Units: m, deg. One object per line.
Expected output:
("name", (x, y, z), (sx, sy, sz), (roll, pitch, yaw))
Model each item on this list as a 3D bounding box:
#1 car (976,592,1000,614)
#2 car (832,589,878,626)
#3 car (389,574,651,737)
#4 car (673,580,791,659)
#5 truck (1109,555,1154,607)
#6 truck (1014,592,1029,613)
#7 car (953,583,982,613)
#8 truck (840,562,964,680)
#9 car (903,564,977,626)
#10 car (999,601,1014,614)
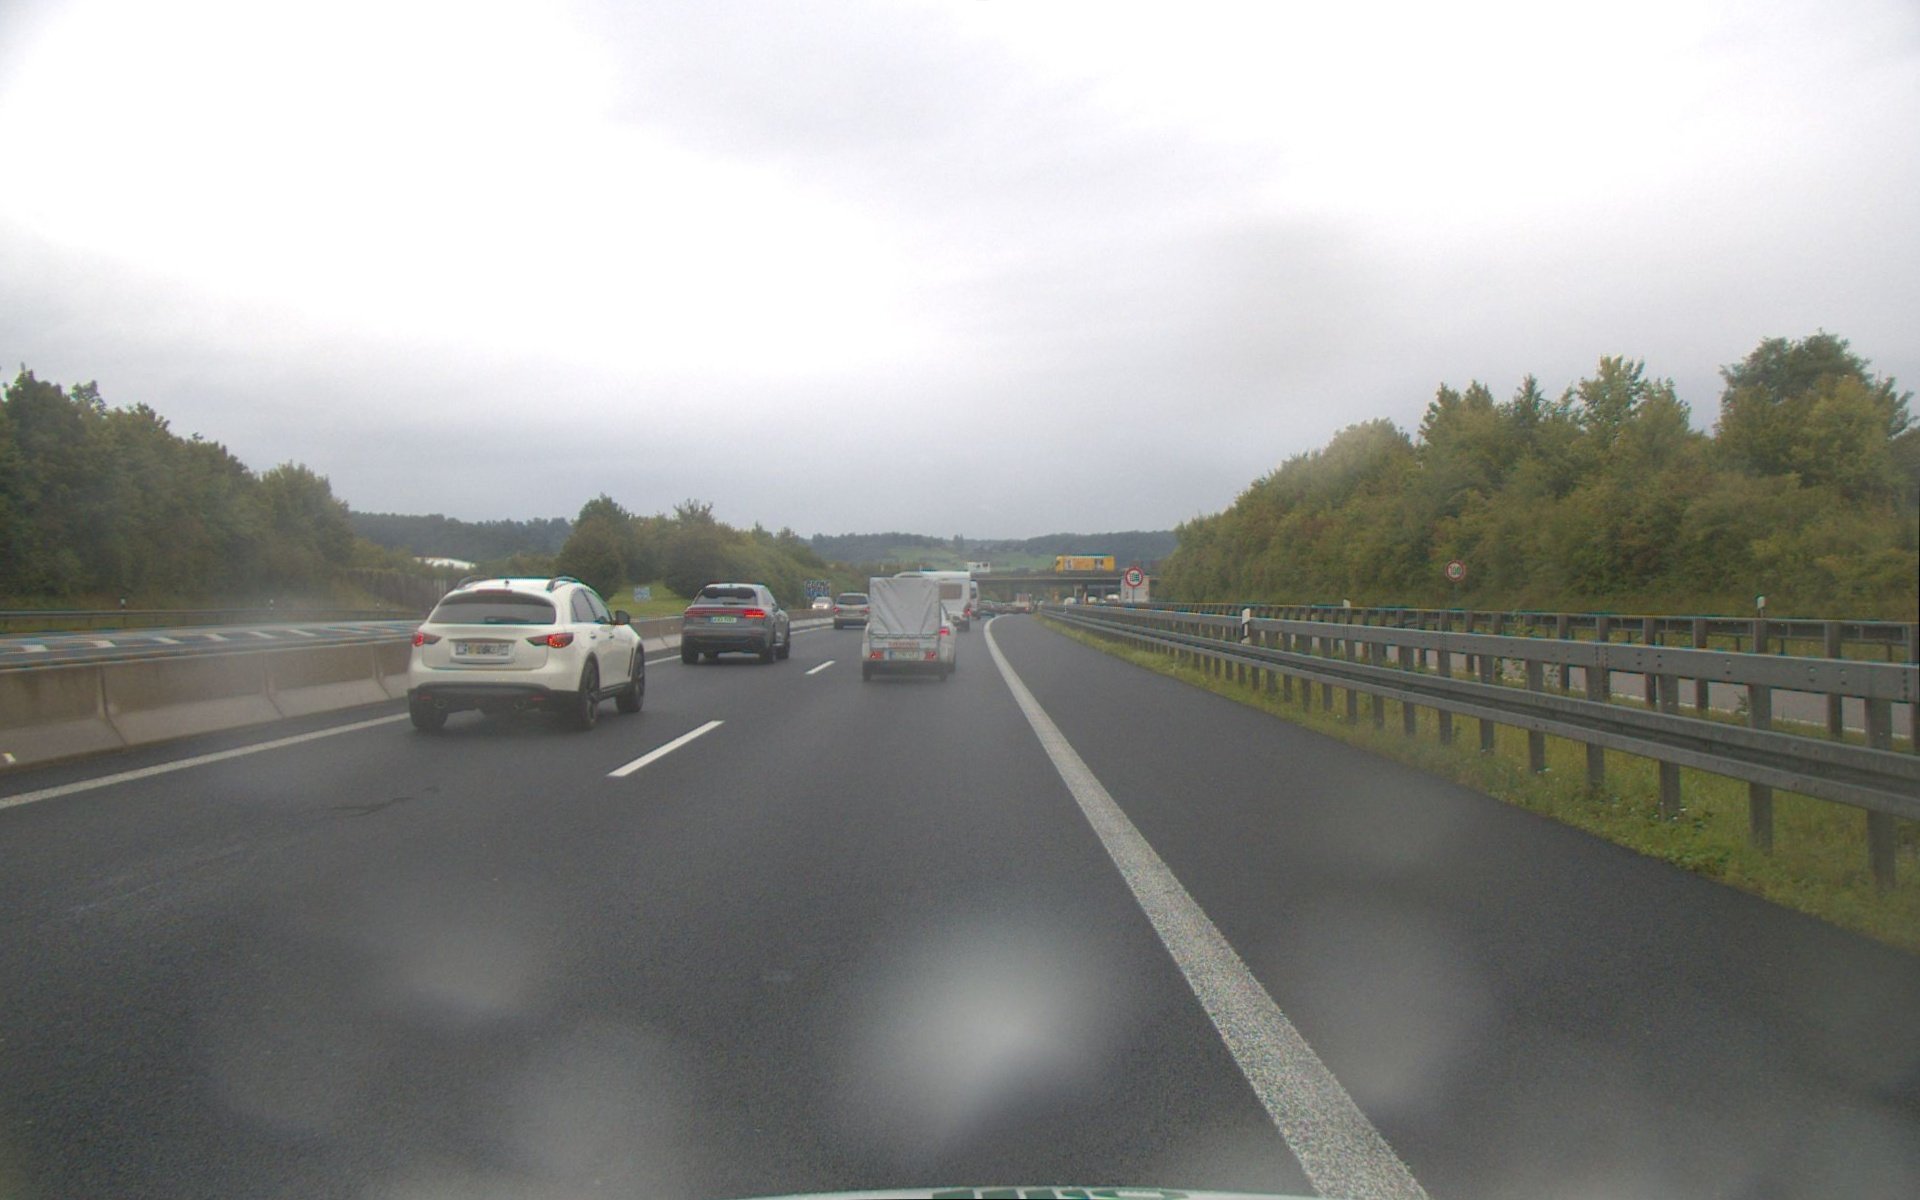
("car", (2.419, 0.257, 141.539), (1.952, 1.780, 4.001), (1, 0, 2))
("car", (-4.754, 0.314, 75.472), (1.861, 1.641, 4.017), (0, 0, 0))
("car", (-4.944, 0.570, 19.266), (1.936, 1.668, 4.499), (0, 0, -1))
("car", (-5.026, 0.411, 37.044), (2.130, 1.660, 4.499), (0, 0, -1))
("truck", (17.647, -1.919, 171.045), (4.008, 5.193, 10.466), (0, 0, 2))
("truck", (9.531, 0.392, 256.166), (2.230, 3.136, 7.249), (1, 0, 3))
("car", (0.523, -0.158, 117.781), (1.953, 2.071, 4.150), (1, 0, -2))
("truck", (-0.989, 0.338, 31.945), (1.977, 2.020, 7.214), (0, 0, 1))
("car", (-0.837, -0.243, 74.389), (2.953, 2.662, 6.077), (0, 0, 3))
("car", (6.548, 1.037, 232.394), (1.952, 1.780, 4.002), (1, 0, 3))
